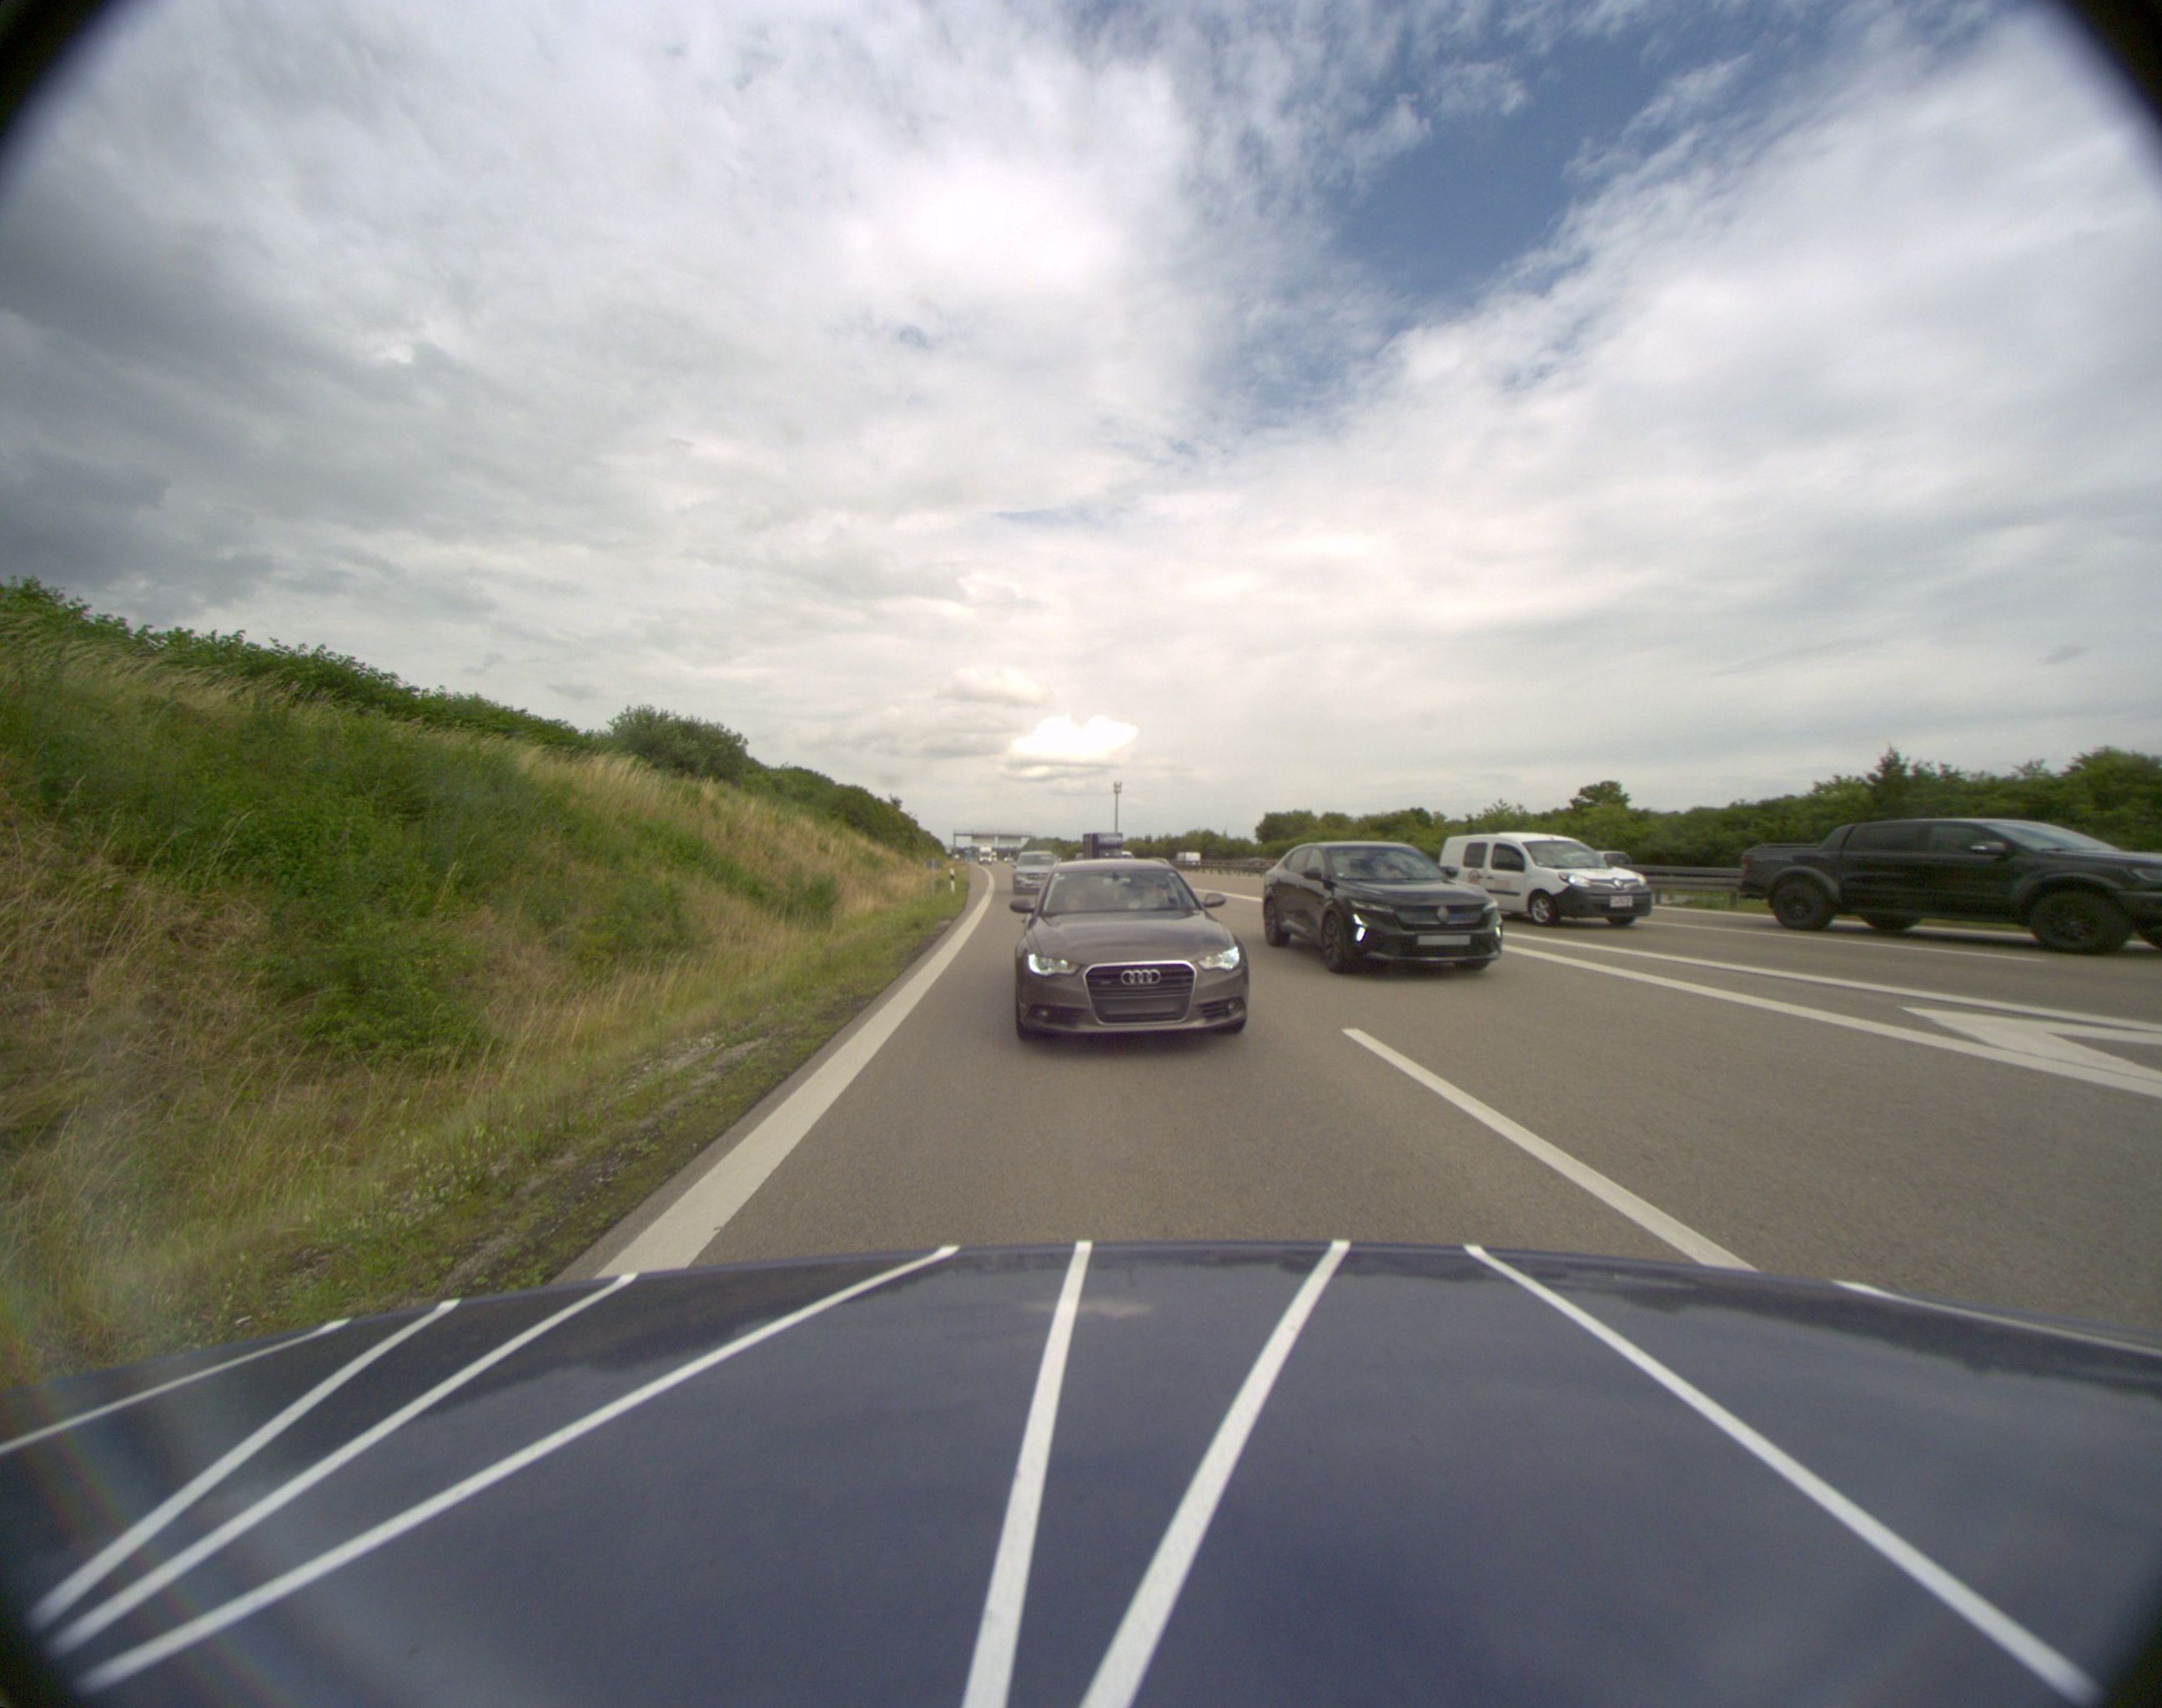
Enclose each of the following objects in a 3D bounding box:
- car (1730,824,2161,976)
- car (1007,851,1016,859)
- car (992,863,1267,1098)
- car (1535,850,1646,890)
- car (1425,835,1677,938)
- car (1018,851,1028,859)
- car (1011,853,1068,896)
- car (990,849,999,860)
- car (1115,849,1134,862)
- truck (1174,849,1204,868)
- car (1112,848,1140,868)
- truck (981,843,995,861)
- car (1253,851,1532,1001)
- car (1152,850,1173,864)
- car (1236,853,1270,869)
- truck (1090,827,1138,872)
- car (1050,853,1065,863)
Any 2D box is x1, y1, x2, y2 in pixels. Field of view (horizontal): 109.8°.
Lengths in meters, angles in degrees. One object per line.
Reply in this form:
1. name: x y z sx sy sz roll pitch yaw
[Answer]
1. car: 13.279 0.524 11.440 2.000 1.775 5.408 -1 0 -7
2. car: -17.326 0.237 190.351 1.999 2.002 3.998 -2 1 -4
3. car: 0.296 0.883 7.205 1.849 1.489 4.028 -1 0 -1
4. car: 22.745 0.668 34.115 2.000 1.641 3.997 -1 0 -8
5. car: 9.085 0.550 15.256 1.882 1.741 4.483 -1 0 -8
6. car: -13.680 0.194 179.372 1.999 2.002 3.999 0 0 -3
7. car: -1.698 0.735 29.998 2.000 1.567 3.997 -1 0 -7
8. car: -21.248 0.113 186.579 1.999 2.381 3.997 -2 1 -6
9. car: 8.023 0.289 140.106 2.169 2.317 6.672 -1 0 -8
10. truck: 11.905 0.508 84.139 2.000 2.002 4.715 -1 0 -8
11. car: 4.223 0.388 72.130 2.000 1.799 3.997 0 0 -7
12. truck: -16.554 -0.377 135.071 2.450 3.216 7.186 -1 0 -8
13. car: 3.818 0.756 10.309 1.838 1.557 4.496 -1 0 -2
14. car: 11.936 0.424 111.088 2.000 2.002 3.996 -2 1 -9
15. car: 17.006 0.640 75.292 2.000 1.510 3.997 -1 0 -6
16. truck: 2.538 -0.247 60.704 2.475 3.350 7.919 -1 -1 -7
17. car: -4.095 0.668 131.927 2.000 1.733 4.825 0 0 -7
